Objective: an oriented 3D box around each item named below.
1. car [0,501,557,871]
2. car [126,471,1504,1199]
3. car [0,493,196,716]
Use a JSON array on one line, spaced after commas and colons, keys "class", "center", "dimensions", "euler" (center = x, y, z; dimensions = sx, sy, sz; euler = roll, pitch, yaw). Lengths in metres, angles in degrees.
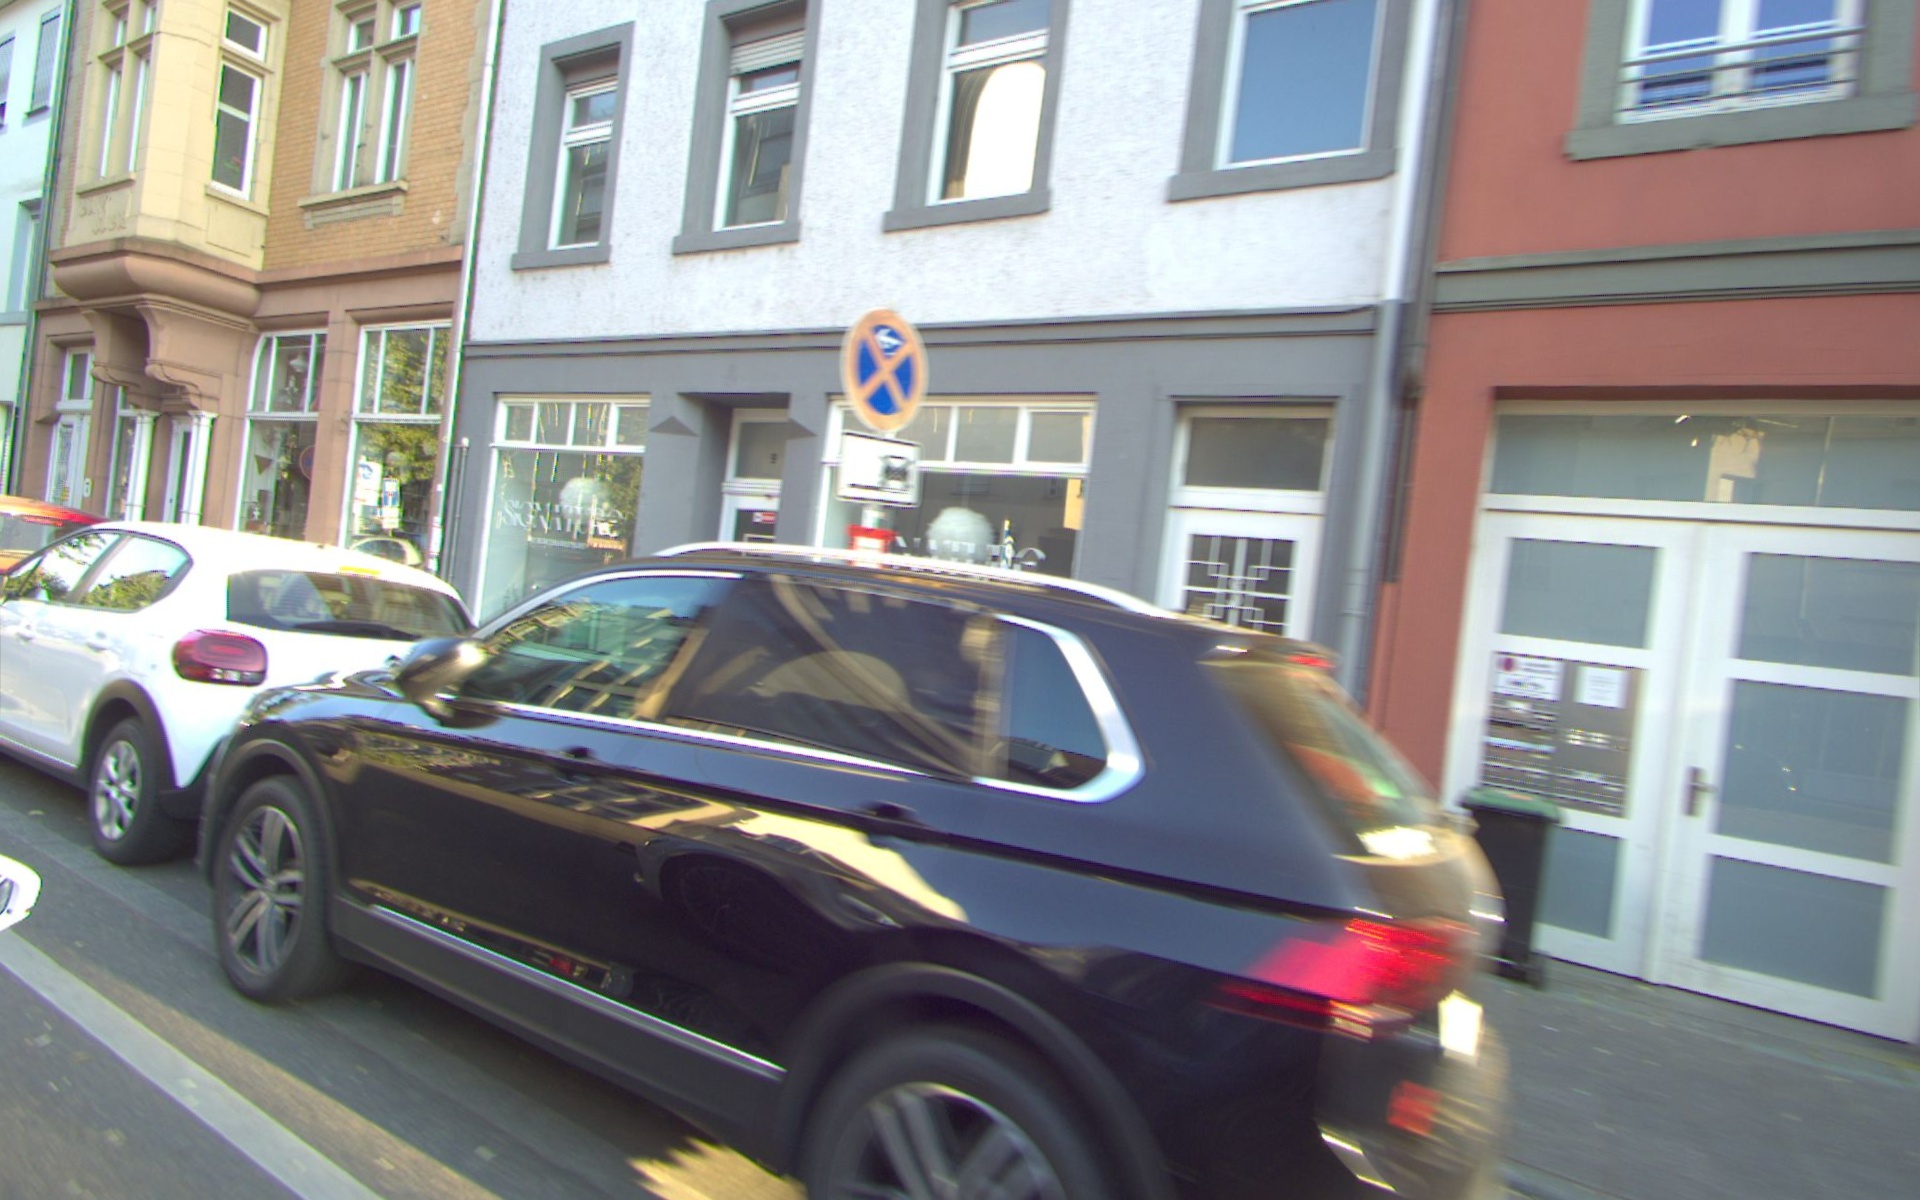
[{"class": "car", "center": [-4.274, 0.299, 5.689], "dimensions": [3.739, 1.394, 1.670], "euler": [6, -2, 31]}, {"class": "car", "center": [-0.669, 0.648, 3.317], "dimensions": [4.135, 1.687, 1.815], "euler": [6, -2, 31]}, {"class": "car", "center": [-7.696, -0.082, 7.878], "dimensions": [3.213, 1.501, 1.590], "euler": [6, -2, 32]}]
